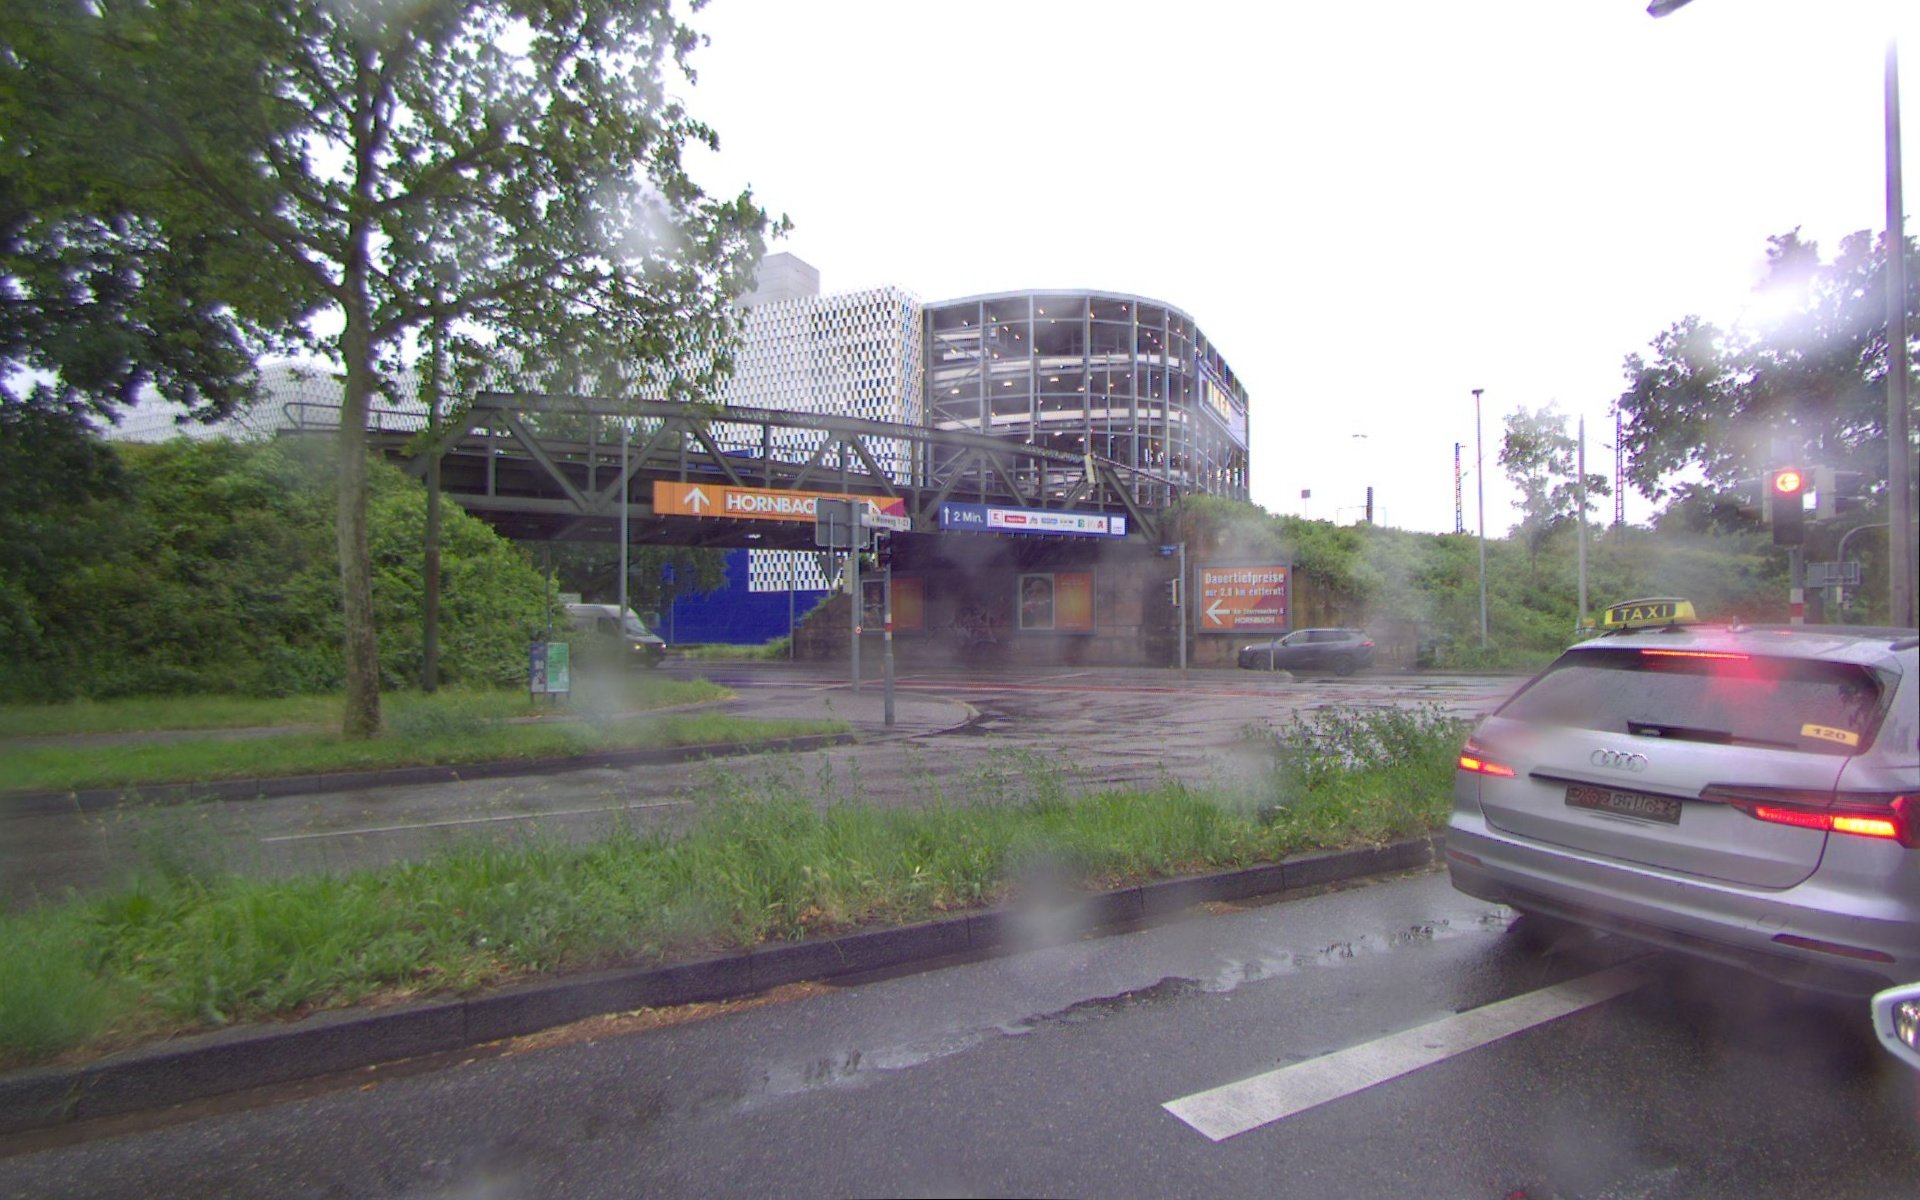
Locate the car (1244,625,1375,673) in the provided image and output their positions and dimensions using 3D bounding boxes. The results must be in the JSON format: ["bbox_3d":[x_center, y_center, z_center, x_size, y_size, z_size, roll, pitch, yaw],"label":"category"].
[{"bbox_3d":[12.086,1.664,34.768,4.166,1.580,1.746,-1,-2,24],"label":"car"}]

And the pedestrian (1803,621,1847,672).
[{"bbox_3d":[32.384,1.736,37.601,1.122,1.871,1.092,2,-2,-41],"label":"pedestrian"}]

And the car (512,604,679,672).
[{"bbox_3d":[-15.161,1.580,41.726,6.847,2.645,2.386,-1,-2,25],"label":"car"}]

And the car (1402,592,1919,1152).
[{"bbox_3d":[4.393,0.810,4.805,4.766,1.595,1.760,1,0,-31],"label":"car"}]
